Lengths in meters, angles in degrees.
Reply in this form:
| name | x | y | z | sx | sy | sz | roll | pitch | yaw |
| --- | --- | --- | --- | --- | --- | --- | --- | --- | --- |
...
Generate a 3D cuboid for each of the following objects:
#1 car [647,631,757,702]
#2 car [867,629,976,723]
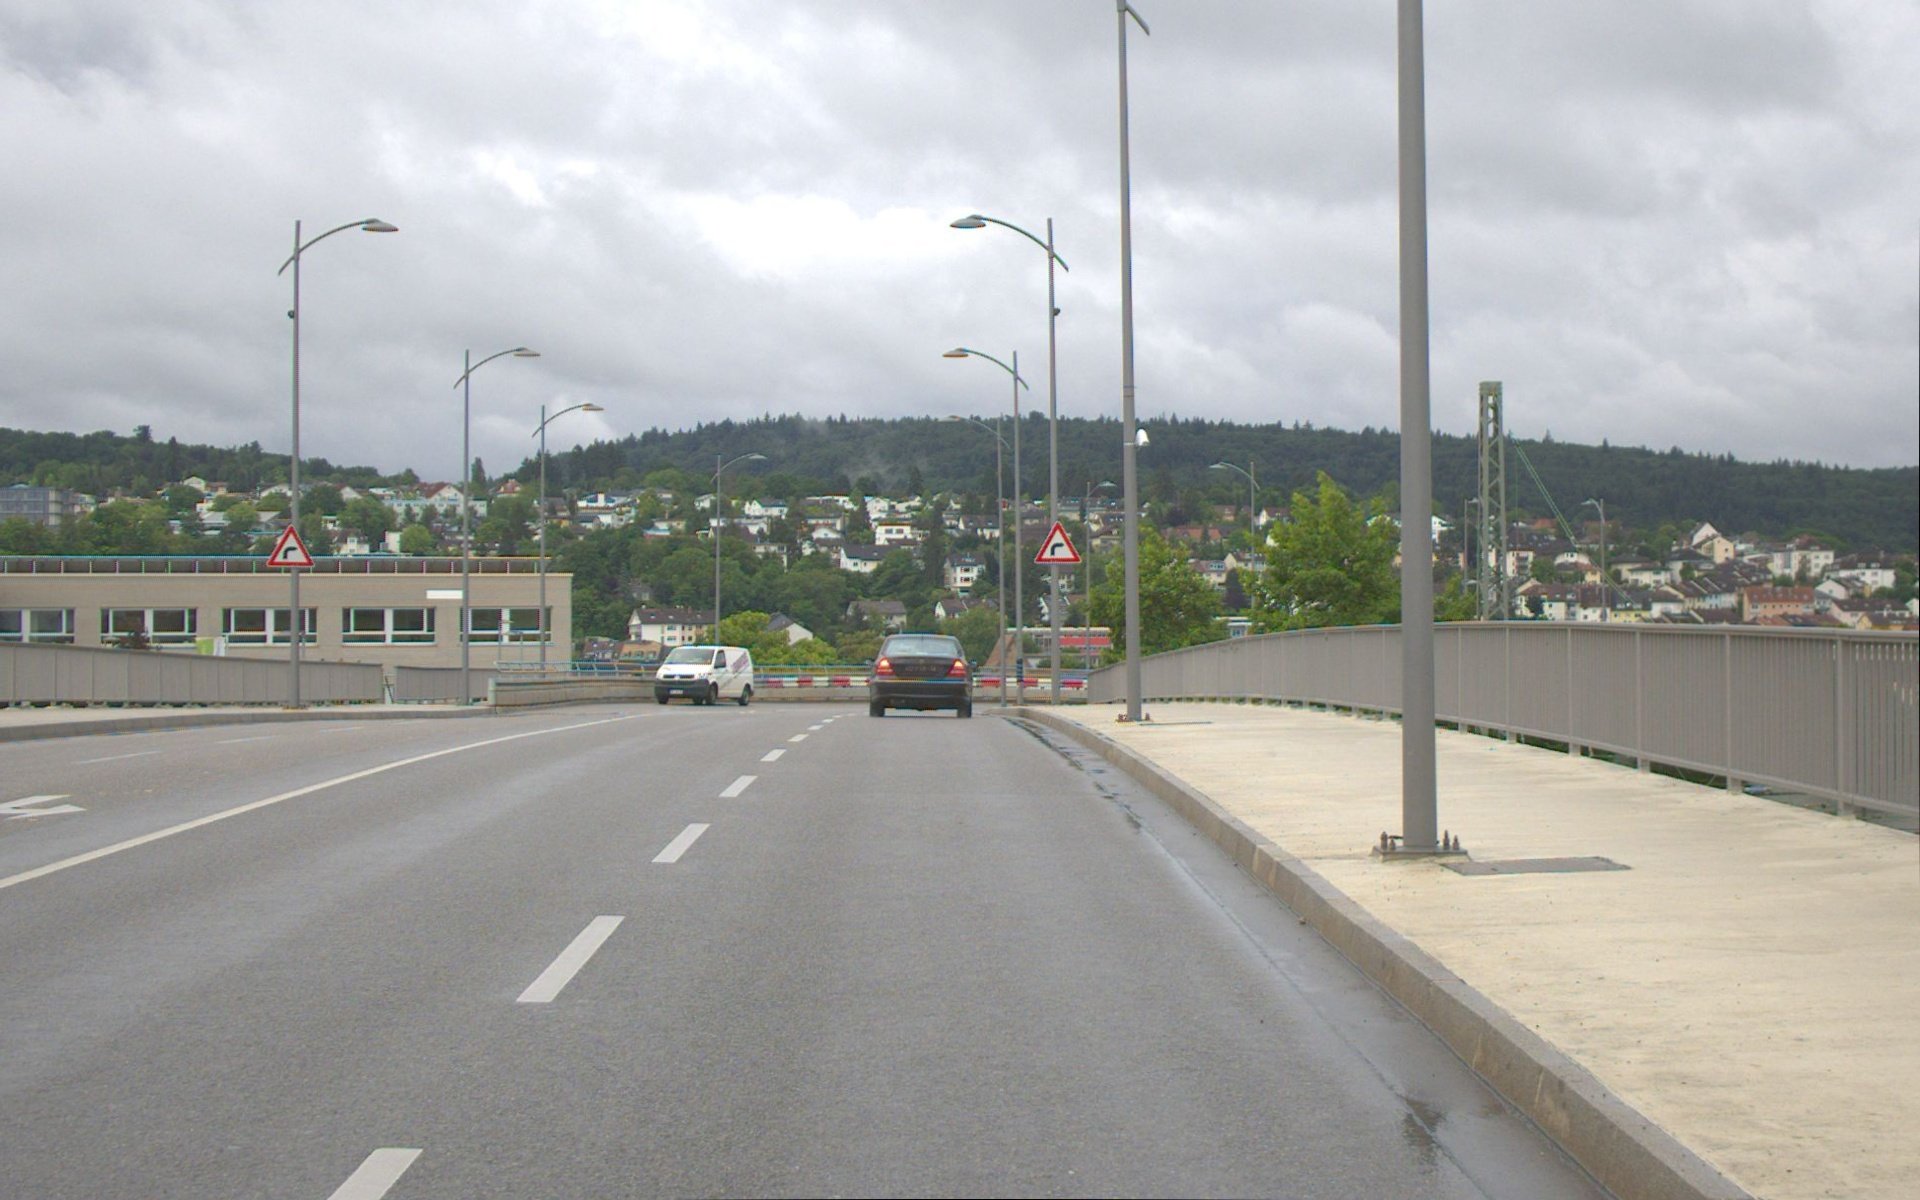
| name | x | y | z | sx | sy | sz | roll | pitch | yaw |
| --- | --- | --- | --- | --- | --- | --- | --- | --- | --- |
| car | -8.372 | 2.187 | 112.004 | 1.954 | 2.092 | 4.087 | -3 | -4 | 21 |
| car | -0.643 | 1.251 | 57.722 | 1.754 | 1.474 | 4.000 | 0 | 0 | 0 |
